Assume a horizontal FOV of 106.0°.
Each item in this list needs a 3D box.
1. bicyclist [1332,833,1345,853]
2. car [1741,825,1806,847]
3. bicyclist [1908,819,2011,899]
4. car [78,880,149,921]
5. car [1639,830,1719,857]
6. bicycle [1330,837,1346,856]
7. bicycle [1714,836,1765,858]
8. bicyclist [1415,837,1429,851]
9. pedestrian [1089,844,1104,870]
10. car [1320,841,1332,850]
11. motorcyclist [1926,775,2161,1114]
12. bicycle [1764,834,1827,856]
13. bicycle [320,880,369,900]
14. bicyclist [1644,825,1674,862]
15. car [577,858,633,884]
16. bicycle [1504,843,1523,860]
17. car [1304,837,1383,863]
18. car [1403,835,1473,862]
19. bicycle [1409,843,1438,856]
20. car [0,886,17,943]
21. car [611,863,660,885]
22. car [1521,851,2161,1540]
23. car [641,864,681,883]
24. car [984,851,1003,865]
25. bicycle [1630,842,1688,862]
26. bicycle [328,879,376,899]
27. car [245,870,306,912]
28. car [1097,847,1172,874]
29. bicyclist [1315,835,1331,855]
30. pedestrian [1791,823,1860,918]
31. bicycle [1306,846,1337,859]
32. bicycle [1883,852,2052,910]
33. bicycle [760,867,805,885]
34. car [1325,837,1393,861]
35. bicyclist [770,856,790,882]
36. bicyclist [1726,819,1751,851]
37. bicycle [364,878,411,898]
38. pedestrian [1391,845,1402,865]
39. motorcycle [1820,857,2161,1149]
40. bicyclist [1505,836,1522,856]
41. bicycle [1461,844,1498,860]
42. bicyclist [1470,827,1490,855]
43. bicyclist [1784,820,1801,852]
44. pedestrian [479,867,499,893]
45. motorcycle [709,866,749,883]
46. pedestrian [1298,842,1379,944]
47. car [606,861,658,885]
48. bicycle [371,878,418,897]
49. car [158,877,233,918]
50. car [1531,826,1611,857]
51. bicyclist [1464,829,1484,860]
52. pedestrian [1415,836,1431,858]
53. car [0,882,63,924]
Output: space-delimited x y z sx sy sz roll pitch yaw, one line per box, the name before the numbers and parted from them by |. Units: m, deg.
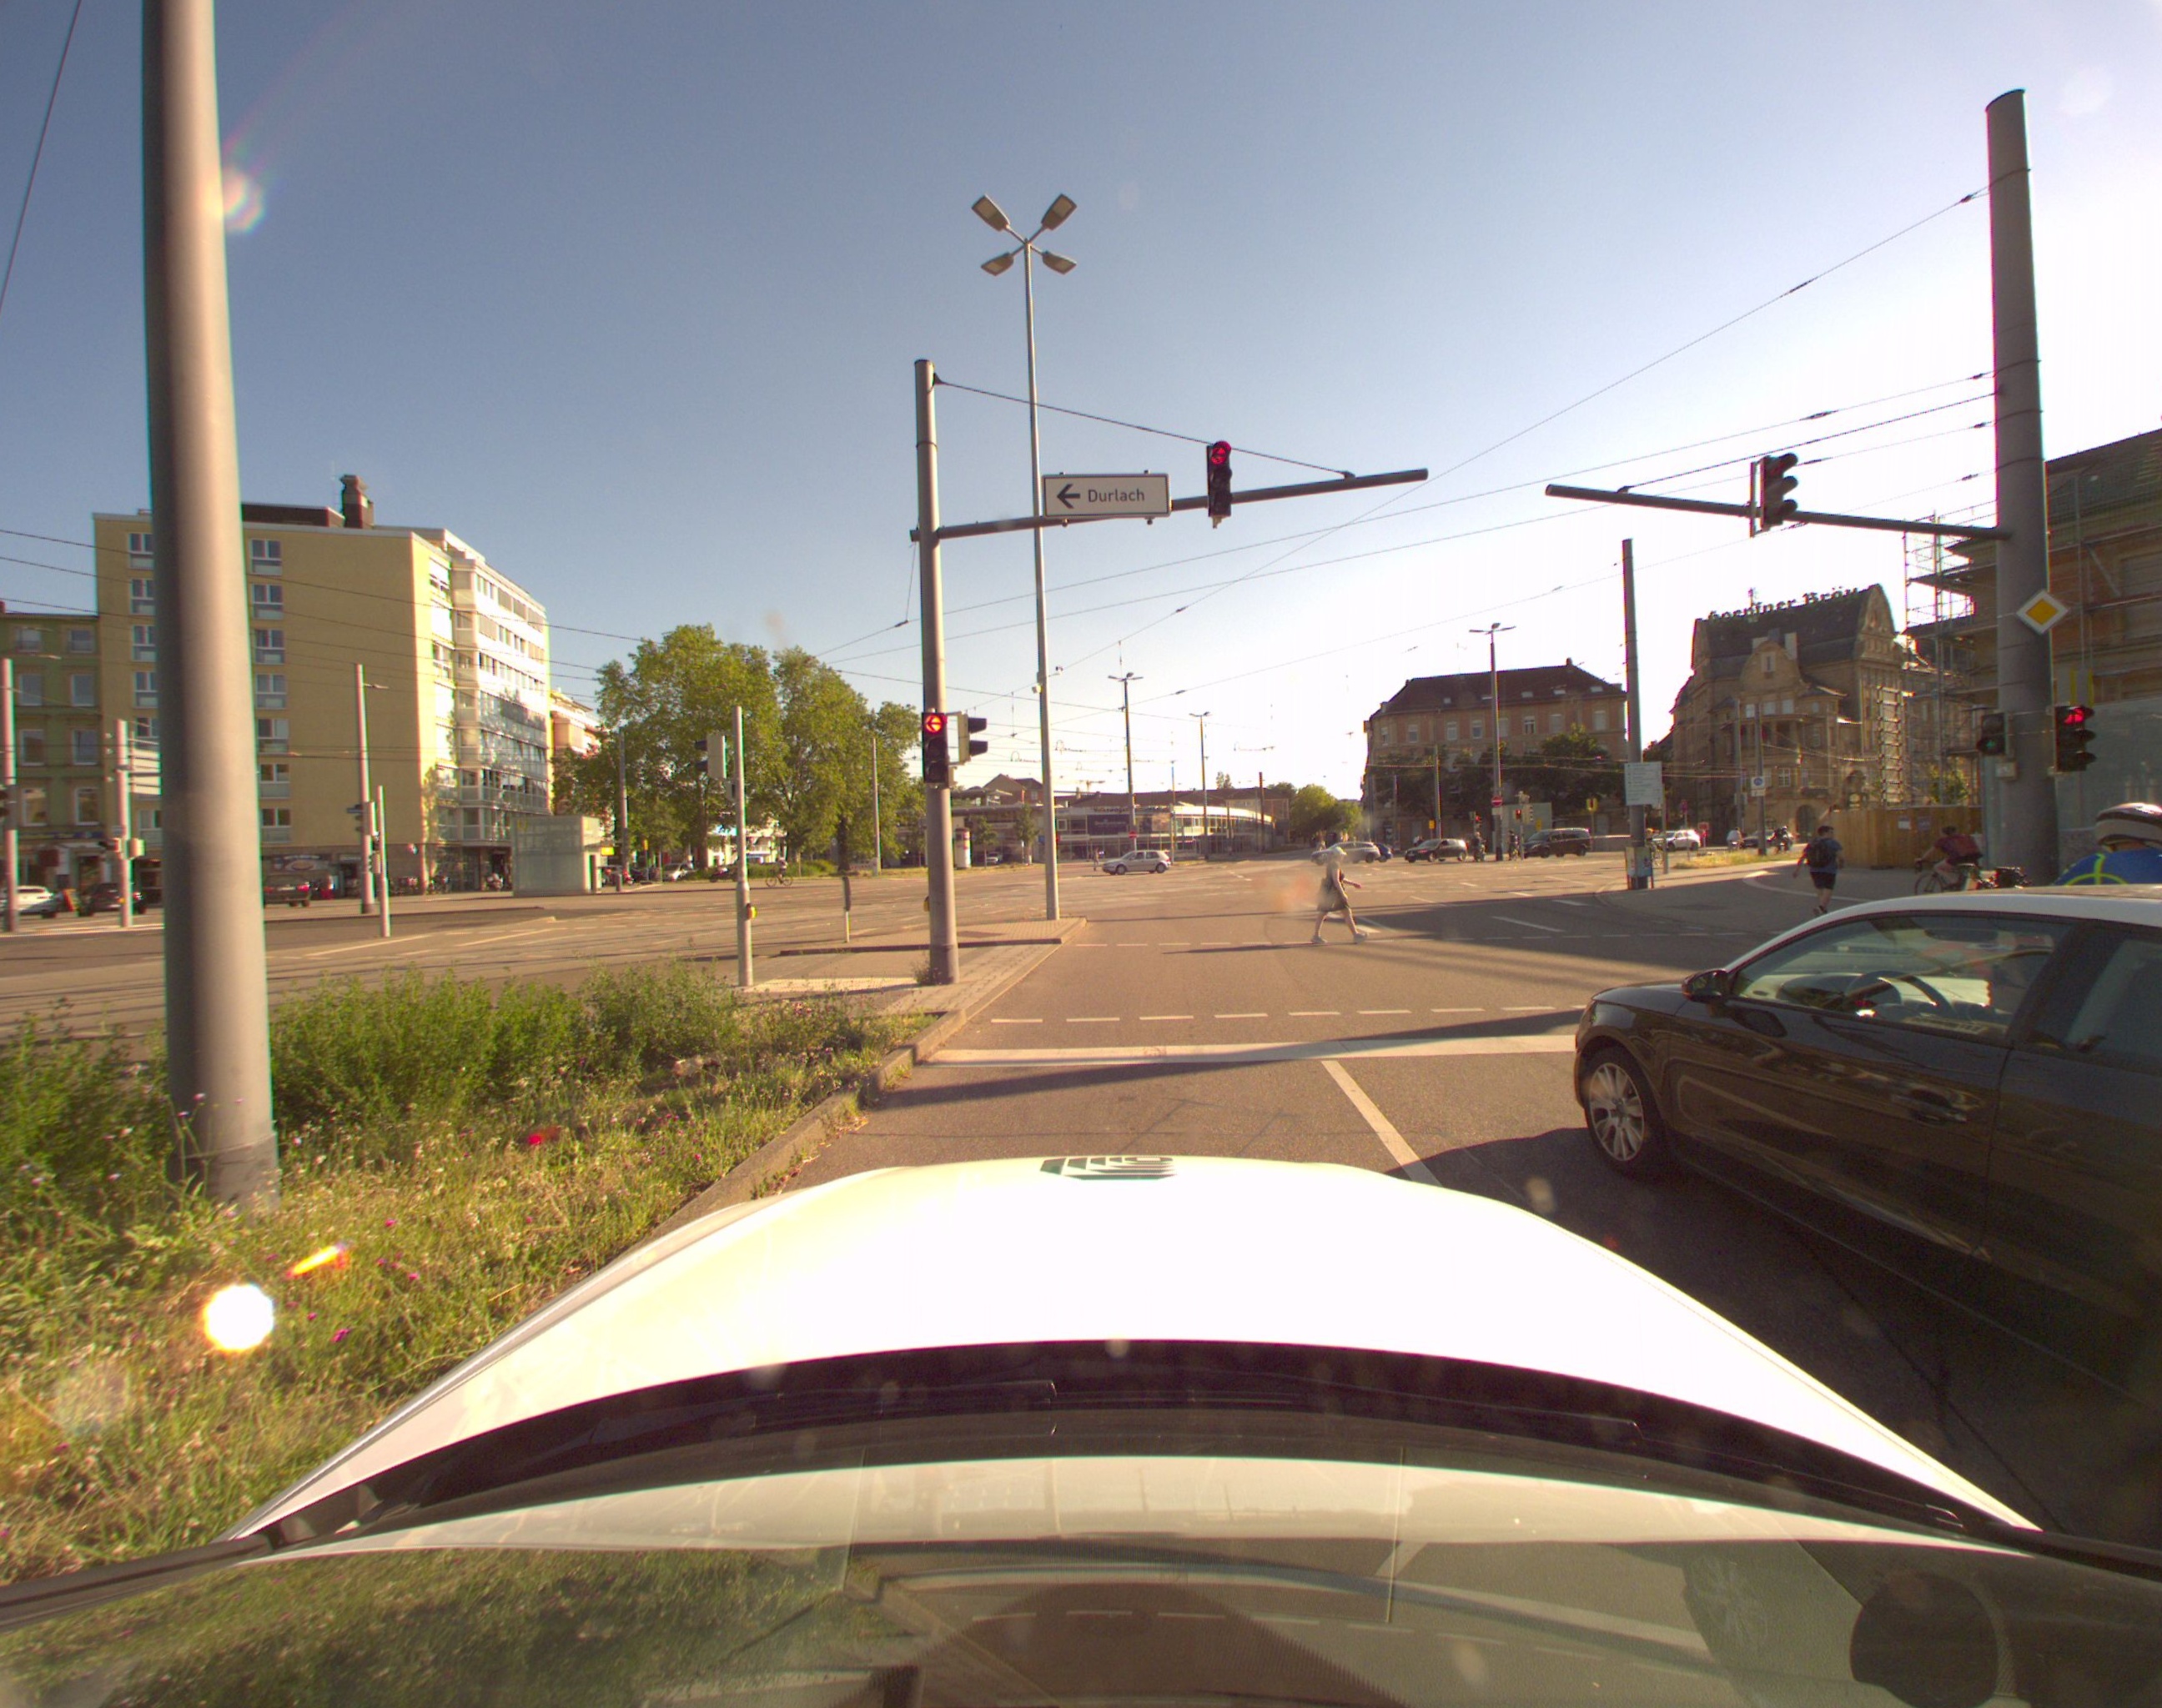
bicyclist | 25.178 -1.110 79.683 1.109 1.900 1.080 0 2 22
car | 53.084 -1.364 62.432 4.357 1.563 1.939 -2 2 -20
bicyclist | 15.943 0.095 14.814 0.716 1.384 1.077 -1 -1 4
car | -47.532 2.227 39.984 3.948 1.719 1.852 0 2 35
car | 42.828 -0.756 58.358 4.841 1.799 1.944 -2 0 -14
bicycle | 25.174 -0.755 79.709 1.125 1.689 4.022 -1 2 21
bicycle | 36.277 -0.400 44.888 2.496 1.133 0.856 -2 2 -14
bicyclist | 28.584 -0.862 68.224 0.716 1.142 0.831 -2 3 -24
pedestrian | 1.094 0.187 58.289 0.985 1.816 0.921 -1 2 3
car | 48.264 -1.655 160.224 1.785 1.655 3.940 0 2 23
motorcyclist | 5.796 0.455 4.575 1.090 1.721 0.938 -1 0 6
bicycle | 37.513 -0.470 42.776 2.469 1.133 0.865 1 2 41
bicycle | -44.496 2.157 49.226 2.045 1.090 0.773 -2 0 -15
bicyclist | 26.696 -0.501 37.645 0.747 1.690 0.855 -2 2 -17
car | -40.463 1.386 69.238 4.013 2.013 1.981 -2 0 -31
bicycle | 25.907 -0.164 48.807 0.849 0.905 2.317 0 2 24
car | 17.085 -0.250 53.047 4.555 1.517 1.942 -2 0 -17
car | 22.178 -0.355 50.587 4.115 1.486 1.935 -2 0 -30
bicycle | 28.732 -0.386 68.292 2.306 0.959 0.853 -2 2 -24
car | -40.706 2.269 28.467 3.741 2.013 1.990 -2 2 -15
car | -42.809 1.902 78.247 4.013 1.857 1.835 -2 2 -31
car | 3.280 0.726 2.683 1.792 1.444 3.984 0 0 5
car | -34.530 1.562 67.068 1.848 1.452 3.985 -1 0 -11
car | -11.202 0.515 104.035 1.988 1.534 3.999 -1 2 -1
bicycle | 26.721 -0.104 37.665 2.499 0.874 0.855 -2 2 -17
bicycle | -44.791 2.133 50.046 2.045 1.090 0.773 -2 0 -15
car | -41.396 1.858 41.827 3.949 1.857 1.865 1 2 41
car | 3.204 0.360 49.089 4.103 1.452 1.943 -2 0 -16
bicyclist | 19.367 -0.723 65.227 0.926 1.559 0.855 -2 2 -18
pedestrian | 13.708 0.299 15.002 0.832 1.671 0.691 -3 0 -34
bicycle | 19.286 -0.115 65.216 2.303 0.979 0.855 -2 2 -19
bicycle | 15.940 0.472 14.757 0.716 0.952 2.252 -1 -1 5
bicycle | -18.230 1.342 49.744 2.439 1.003 0.959 -2 0 -11
car | 20.030 -0.349 58.719 4.563 1.594 1.964 -2 0 20
bicyclist | -18.380 0.908 49.710 0.924 1.559 0.959 -2 0 -11
bicyclist | 36.210 -1.054 44.851 0.650 1.690 0.856 -1 2 -13
bicycle | -42.388 2.096 49.804 2.045 1.090 0.773 -2 0 -15
pedestrian | 26.045 0.109 67.292 0.644 1.653 0.551 -2 0 -33
motorcycle | 5.798 0.719 4.560 1.090 1.377 2.657 -1 0 6
bicyclist | 25.909 -0.475 48.828 0.850 1.176 0.719 0 2 24
bicycle | 24.008 -0.136 49.034 2.311 0.905 0.852 -2 2 -31
bicyclist | 23.997 -0.779 49.018 0.653 1.690 0.852 -2 2 -31
bicyclist | 37.417 -0.944 42.829 0.643 1.690 0.865 0 2 41
pedestrian | -39.196 1.742 53.928 0.776 1.676 0.779 -2 0 -12
motorcycle | -23.529 1.363 54.448 2.283 1.054 0.685 -1 2 -9
pedestrian | 4.253 0.615 13.488 1.091 1.606 0.697 -1 2 -6
car | -40.798 1.700 74.045 4.013 1.857 1.835 -2 2 -31
bicycle | -42.642 2.072 50.610 2.045 1.090 0.773 -2 0 -15
car | -44.339 2.123 40.769 3.948 1.748 1.852 0 2 33
car | 32.802 -0.819 54.552 4.849 1.893 1.941 -2 0 -19
bicyclist | 23.531 -0.557 48.729 0.586 1.778 0.858 -2 0 -30
pedestrian | 27.281 -0.558 64.936 0.920 1.676 0.784 -2 0 4
car | -51.025 2.319 39.276 3.958 1.719 2.100 0 2 35
